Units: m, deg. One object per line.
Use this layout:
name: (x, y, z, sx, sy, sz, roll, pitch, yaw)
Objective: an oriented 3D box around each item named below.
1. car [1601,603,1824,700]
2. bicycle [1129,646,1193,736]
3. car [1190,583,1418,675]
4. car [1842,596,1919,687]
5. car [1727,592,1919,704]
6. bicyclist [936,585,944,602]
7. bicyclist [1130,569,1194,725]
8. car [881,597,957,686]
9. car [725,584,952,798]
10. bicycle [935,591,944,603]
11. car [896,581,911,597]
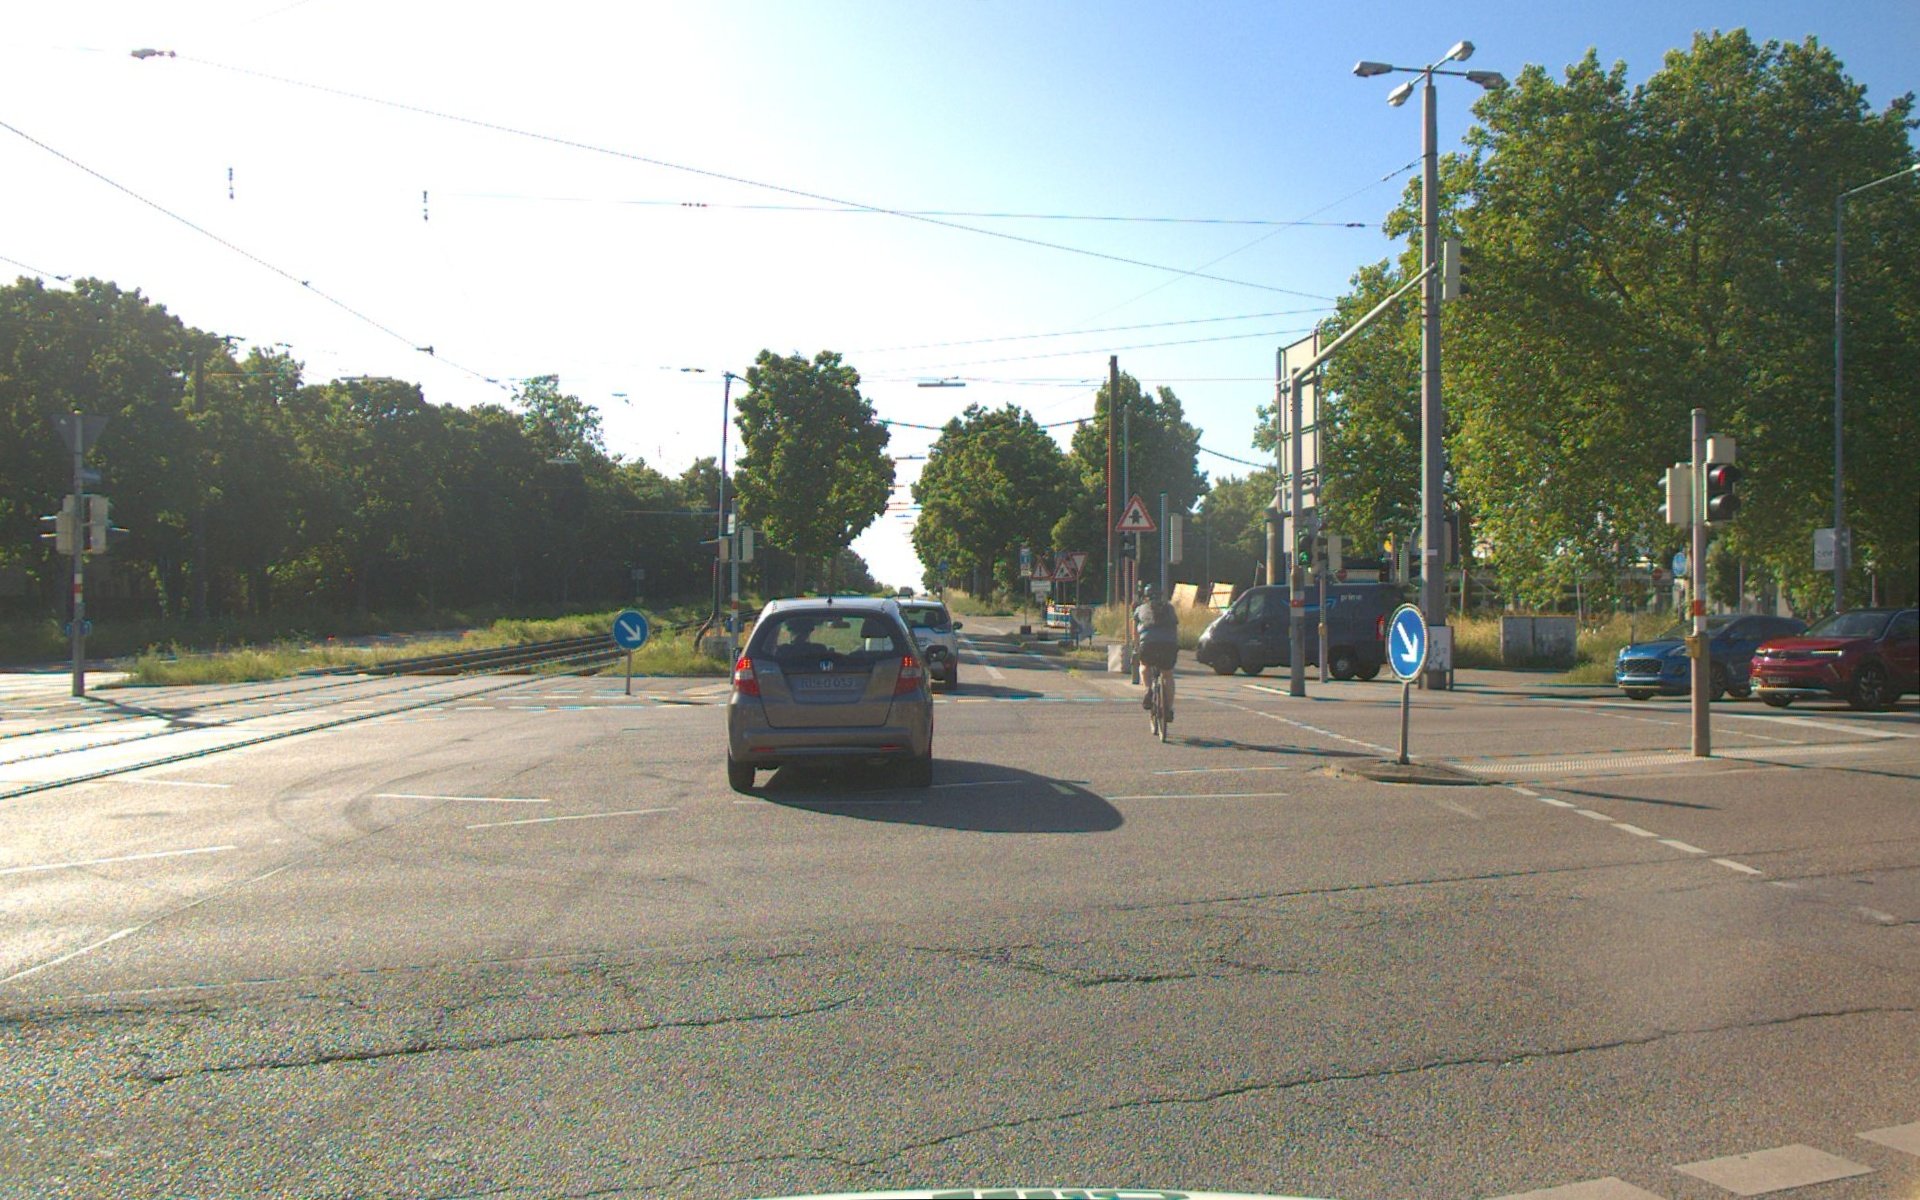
car: (13.544, 0.889, 29.746, 3.803, 1.628, 1.697, 0, -1, -28)
bicycle: (2.281, 1.013, 18.944, 0.513, 0.939, 2.089, 0, -1, 1)
car: (8.285, 0.683, 40.020, 5.010, 2.106, 2.126, 0, -1, 32)
car: (19.553, 0.799, 32.564, 4.113, 1.708, 1.917, 0, -1, -28)
car: (14.070, 0.699, 25.598, 4.023, 1.628, 1.803, 0, -1, -24)
bicyclist: (-1.941, -0.634, 160.320, 0.801, 1.551, 0.966, 1, -2, 0)
bicyclist: (2.270, 0.517, 18.655, 0.602, 1.709, 0.933, 0, -1, 0)
car: (-0.730, 0.742, 30.651, 1.324, 1.554, 3.123, 0, -1, 0)
car: (-0.932, 0.670, 14.381, 1.636, 1.541, 3.674, 2, 1, 0)
bicycle: (-1.955, -0.290, 160.293, 0.801, 1.066, 2.505, 1, -1, 0)
car: (-7.664, -1.488, 225.049, 1.953, 2.049, 3.999, 0, 0, 0)
